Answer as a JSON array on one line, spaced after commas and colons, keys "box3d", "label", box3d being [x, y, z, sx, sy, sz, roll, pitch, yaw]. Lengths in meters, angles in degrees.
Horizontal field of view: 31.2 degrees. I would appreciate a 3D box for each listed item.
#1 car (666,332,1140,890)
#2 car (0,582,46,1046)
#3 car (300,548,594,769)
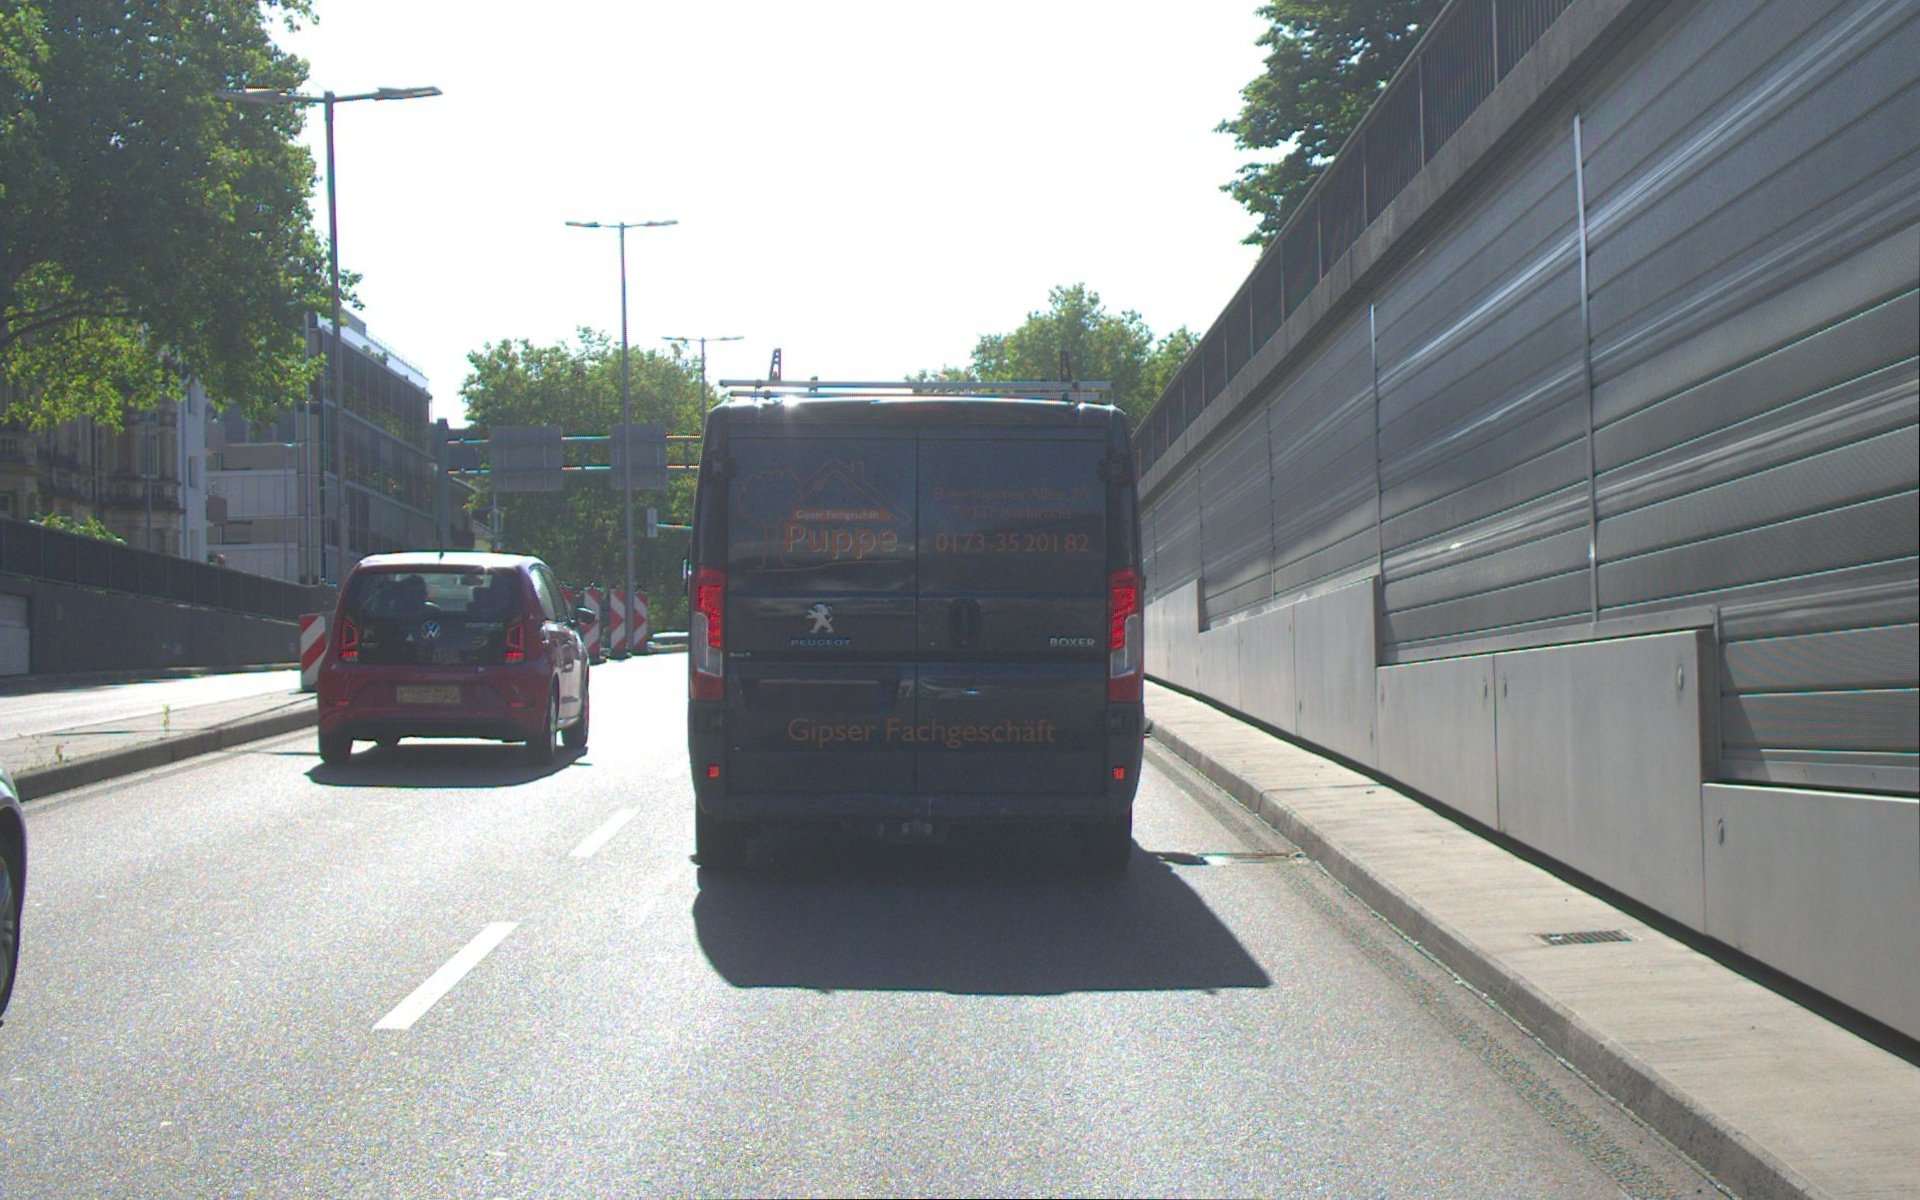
[{"box3d": [-0.269, 0.052, 16.819, 2.030, 2.394, 3.973, 0, 0, -1], "label": "car"}, {"box3d": [-3.681, 0.640, 8.957, 1.619, 1.398, 3.852, 0, 0, -1], "label": "car"}, {"box3d": [-3.629, 0.373, 24.797, 1.689, 1.478, 3.319, 0, 1, -1], "label": "car"}]
